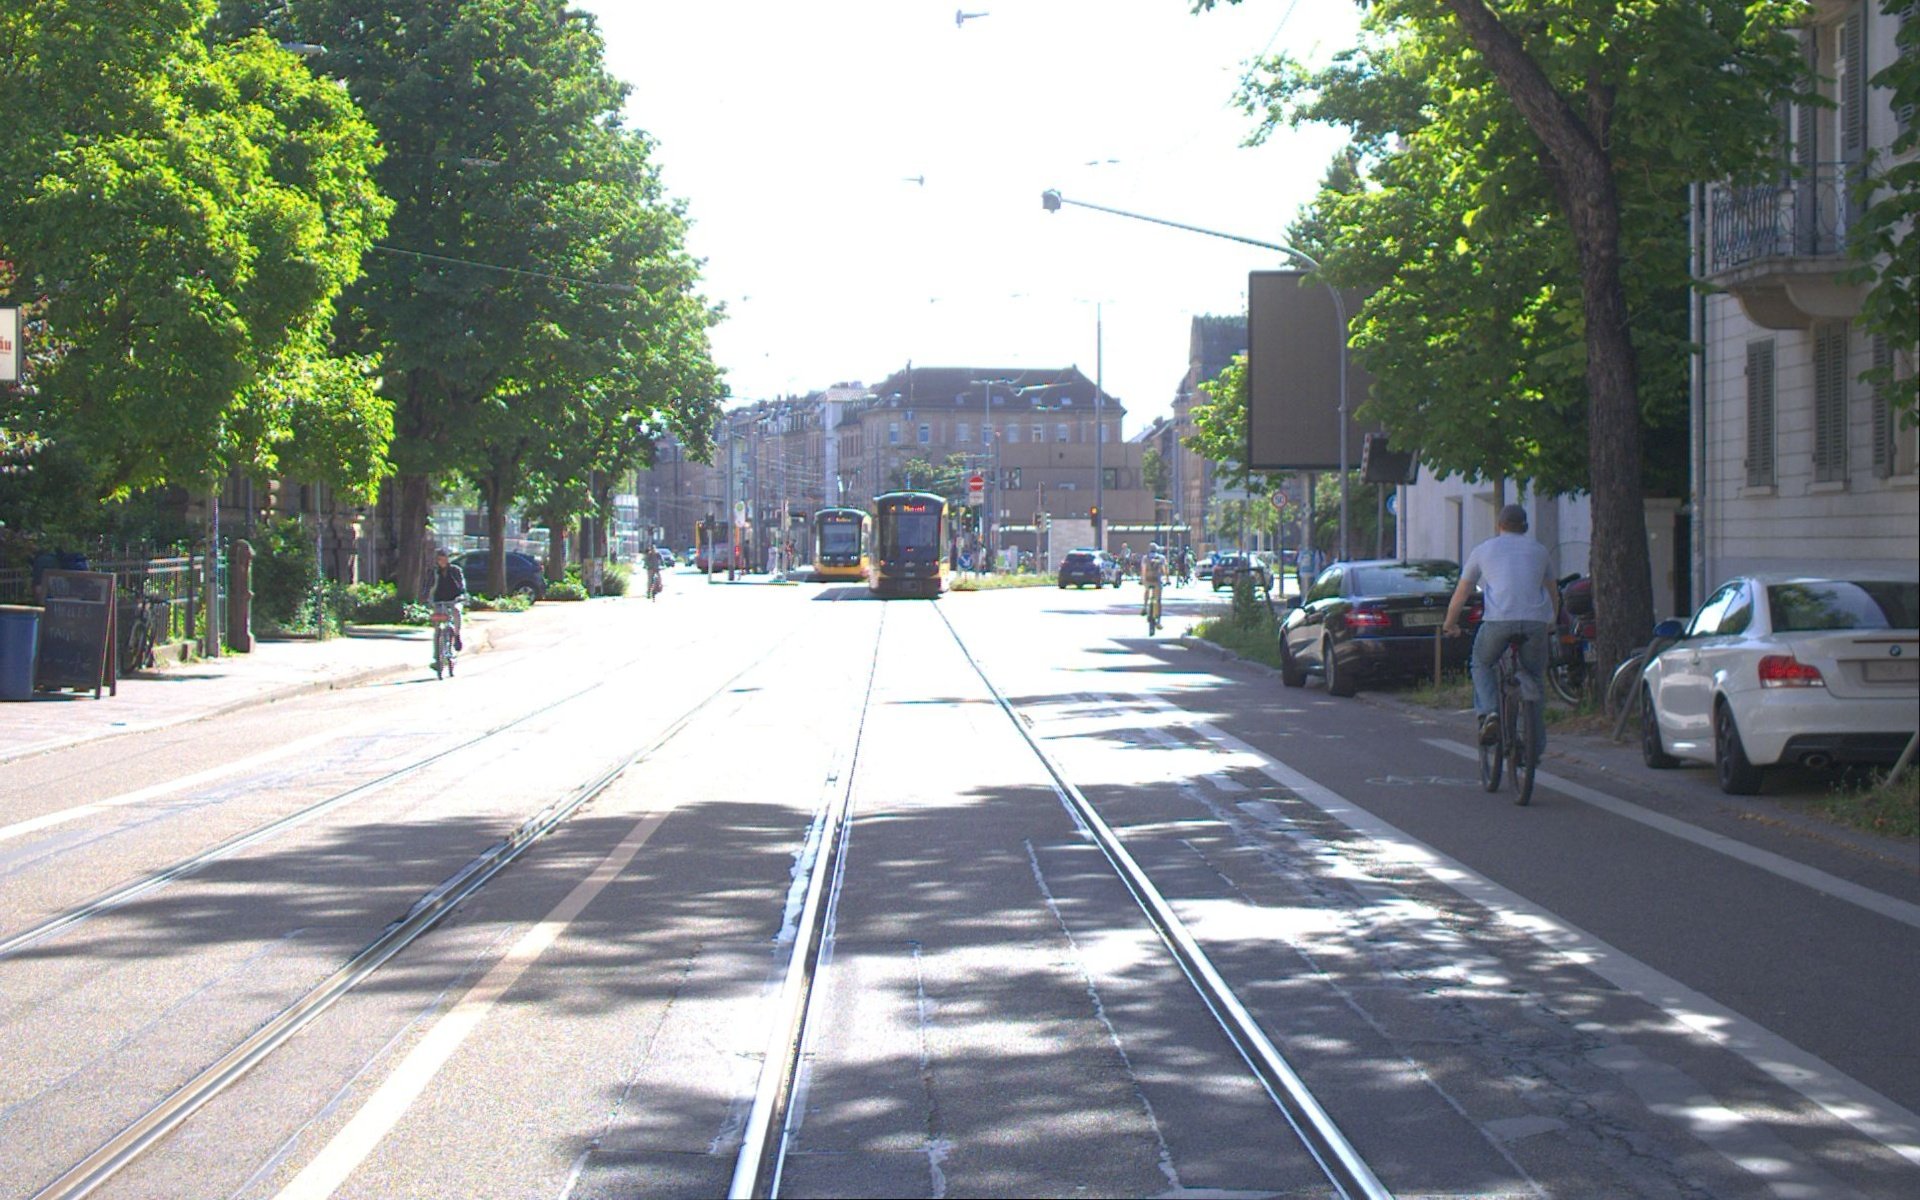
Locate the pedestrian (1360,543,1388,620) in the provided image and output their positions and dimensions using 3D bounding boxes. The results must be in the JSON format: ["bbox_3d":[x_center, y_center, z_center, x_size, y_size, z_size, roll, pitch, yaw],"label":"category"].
[{"bbox_3d":[8.617,-0.388,71.612,0.518,1.595,0.764,0,1,2],"label":"pedestrian"}]

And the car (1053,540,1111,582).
[{"bbox_3d":[4.977,-1.595,139.391,1.790,1.599,3.711,2,1,10],"label":"car"}]

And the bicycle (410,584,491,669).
[{"bbox_3d":[-6.905,0.351,46.683,0.745,1.078,1.899,-3,1,0],"label":"bicycle"}]

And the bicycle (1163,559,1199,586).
[{"bbox_3d":[9.129,-1.126,142.153,0.706,1.051,2.311,3,2,24],"label":"bicycle"}]

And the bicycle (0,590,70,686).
[{"bbox_3d":[-10.824,0.426,38.662,0.637,1.042,2.020,1,1,16],"label":"bicycle"}]

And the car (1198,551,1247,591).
[{"bbox_3d":[10.726,-1.200,140.647,1.789,1.506,3.713,1,1,2],"label":"car"}]

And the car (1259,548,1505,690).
[{"bbox_3d":[4.706,0.163,38.993,1.821,1.453,4.819,-2,1,-4],"label":"car"}]

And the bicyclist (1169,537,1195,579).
[{"bbox_3d":[9.187,-1.753,142.206,0.706,1.694,0.986,3,2,24],"label":"bicyclist"}]

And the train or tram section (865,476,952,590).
[{"bbox_3d":[-1.842,-2.303,116.796,2.742,3.639,13.787,0,1,-2],"label":"train or tram section"}]

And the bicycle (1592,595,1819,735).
[{"bbox_3d":[5.883,0.507,27.169,1.619,1.039,0.685,-2,1,0],"label":"bicycle"}]

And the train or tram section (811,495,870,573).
[{"bbox_3d":[-5.768,-3.236,167.105,2.742,3.639,13.787,0,1,-2],"label":"train or tram section"}]

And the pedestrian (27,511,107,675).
[{"bbox_3d":[-10.035,-0.084,38.643,0.576,1.825,0.689,1,1,18],"label":"pedestrian"}]

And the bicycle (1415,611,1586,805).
[{"bbox_3d":[3.349,0.644,21.459,0.738,1.090,2.111,2,1,1],"label":"bicycle"}]

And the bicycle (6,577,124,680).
[{"bbox_3d":[-10.493,0.315,40.375,0.646,1.139,1.904,2,1,7],"label":"bicycle"}]

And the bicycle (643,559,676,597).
[{"bbox_3d":[-9.225,-0.679,105.517,0.687,1.120,1.931,-2,1,3],"label":"bicycle"}]

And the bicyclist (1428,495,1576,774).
[{"bbox_3d":[3.359,0.201,21.376,0.738,1.680,0.972,2,1,1],"label":"bicyclist"}]

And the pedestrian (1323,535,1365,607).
[{"bbox_3d":[8.803,-0.663,78.831,0.857,1.635,0.993,0,-1,2],"label":"pedestrian"}]

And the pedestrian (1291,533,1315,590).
[{"bbox_3d":[11.727,-1.325,117.490,0.637,1.897,1.134,-2,1,0],"label":"pedestrian"}]

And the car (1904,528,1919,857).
[{"bbox_3d":[5.615,0.466,14.744,1.810,1.620,4.584,-2,1,0],"label":"car"}]

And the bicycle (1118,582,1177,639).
[{"bbox_3d":[3.785,0.204,69.262,0.705,1.101,1.715,2,2,19],"label":"bicycle"}]

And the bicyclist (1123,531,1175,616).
[{"bbox_3d":[3.808,-0.540,69.243,0.705,1.669,1.100,2,1,19],"label":"bicyclist"}]

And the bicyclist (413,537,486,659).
[{"bbox_3d":[-6.925,-0.038,46.677,0.745,1.594,1.118,-3,1,0],"label":"bicyclist"}]

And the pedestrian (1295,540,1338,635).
[{"bbox_3d":[6.995,-0.246,67.431,0.683,1.843,0.955,-1,1,-2],"label":"pedestrian"}]

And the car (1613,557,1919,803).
[{"bbox_3d":[5.533,0.446,22.462,1.724,1.377,4.356,-2,1,1],"label":"car"}]

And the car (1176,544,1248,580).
[{"bbox_3d":[11.877,-1.788,161.880,1.705,1.638,3.705,2,2,34],"label":"car"}]

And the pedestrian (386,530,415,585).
[{"bbox_3d":[-17.074,-1.298,104.957,0.700,1.629,0.759,2,1,-1],"label":"pedestrian"}]

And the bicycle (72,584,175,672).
[{"bbox_3d":[-10.433,0.338,42.951,0.590,1.042,1.904,1,1,7],"label":"bicycle"}]

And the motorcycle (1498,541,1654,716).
[{"bbox_3d":[5.548,0.228,31.138,0.913,1.483,2.679,-2,1,1],"label":"motorcycle"}]

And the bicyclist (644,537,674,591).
[{"bbox_3d":[-9.240,-1.115,105.492,0.687,1.639,1.237,-2,1,3],"label":"bicyclist"}]

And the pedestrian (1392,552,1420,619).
[{"bbox_3d":[9.286,-0.309,71.599,0.518,1.399,0.764,0,1,2],"label":"pedestrian"}]

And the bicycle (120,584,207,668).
[{"bbox_3d":[-10.413,0.330,44.975,0.590,1.042,1.905,2,1,2],"label":"bicycle"}]
